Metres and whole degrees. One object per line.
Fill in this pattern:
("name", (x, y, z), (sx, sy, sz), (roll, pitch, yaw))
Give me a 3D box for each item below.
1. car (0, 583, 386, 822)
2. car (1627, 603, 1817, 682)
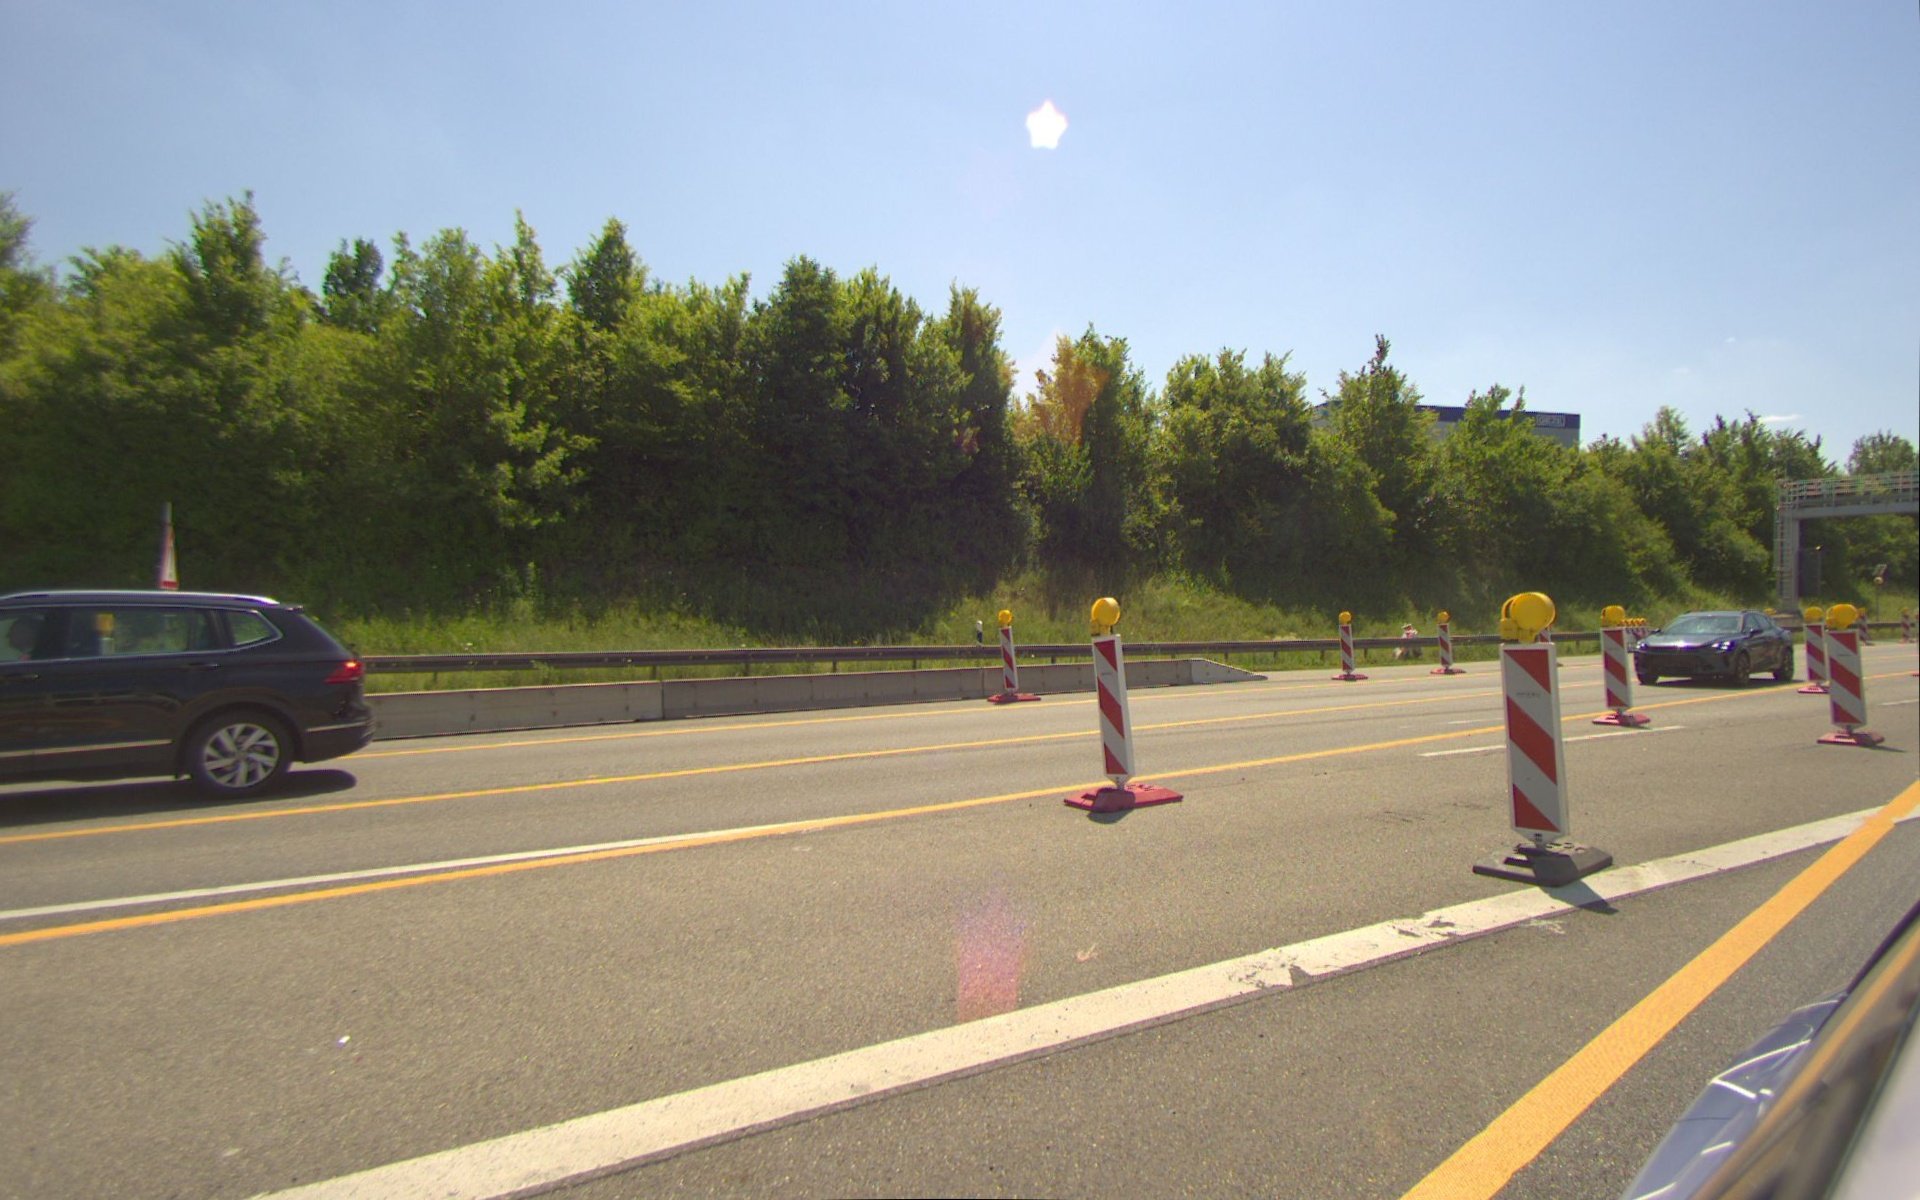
("car", (-7.515, 0.722, 7.821), (5.140, 1.684, 2.024), (0, 0, -37))
("car", (16.209, 0.828, 21.464), (4.590, 1.505, 1.999), (0, -1, -36))
